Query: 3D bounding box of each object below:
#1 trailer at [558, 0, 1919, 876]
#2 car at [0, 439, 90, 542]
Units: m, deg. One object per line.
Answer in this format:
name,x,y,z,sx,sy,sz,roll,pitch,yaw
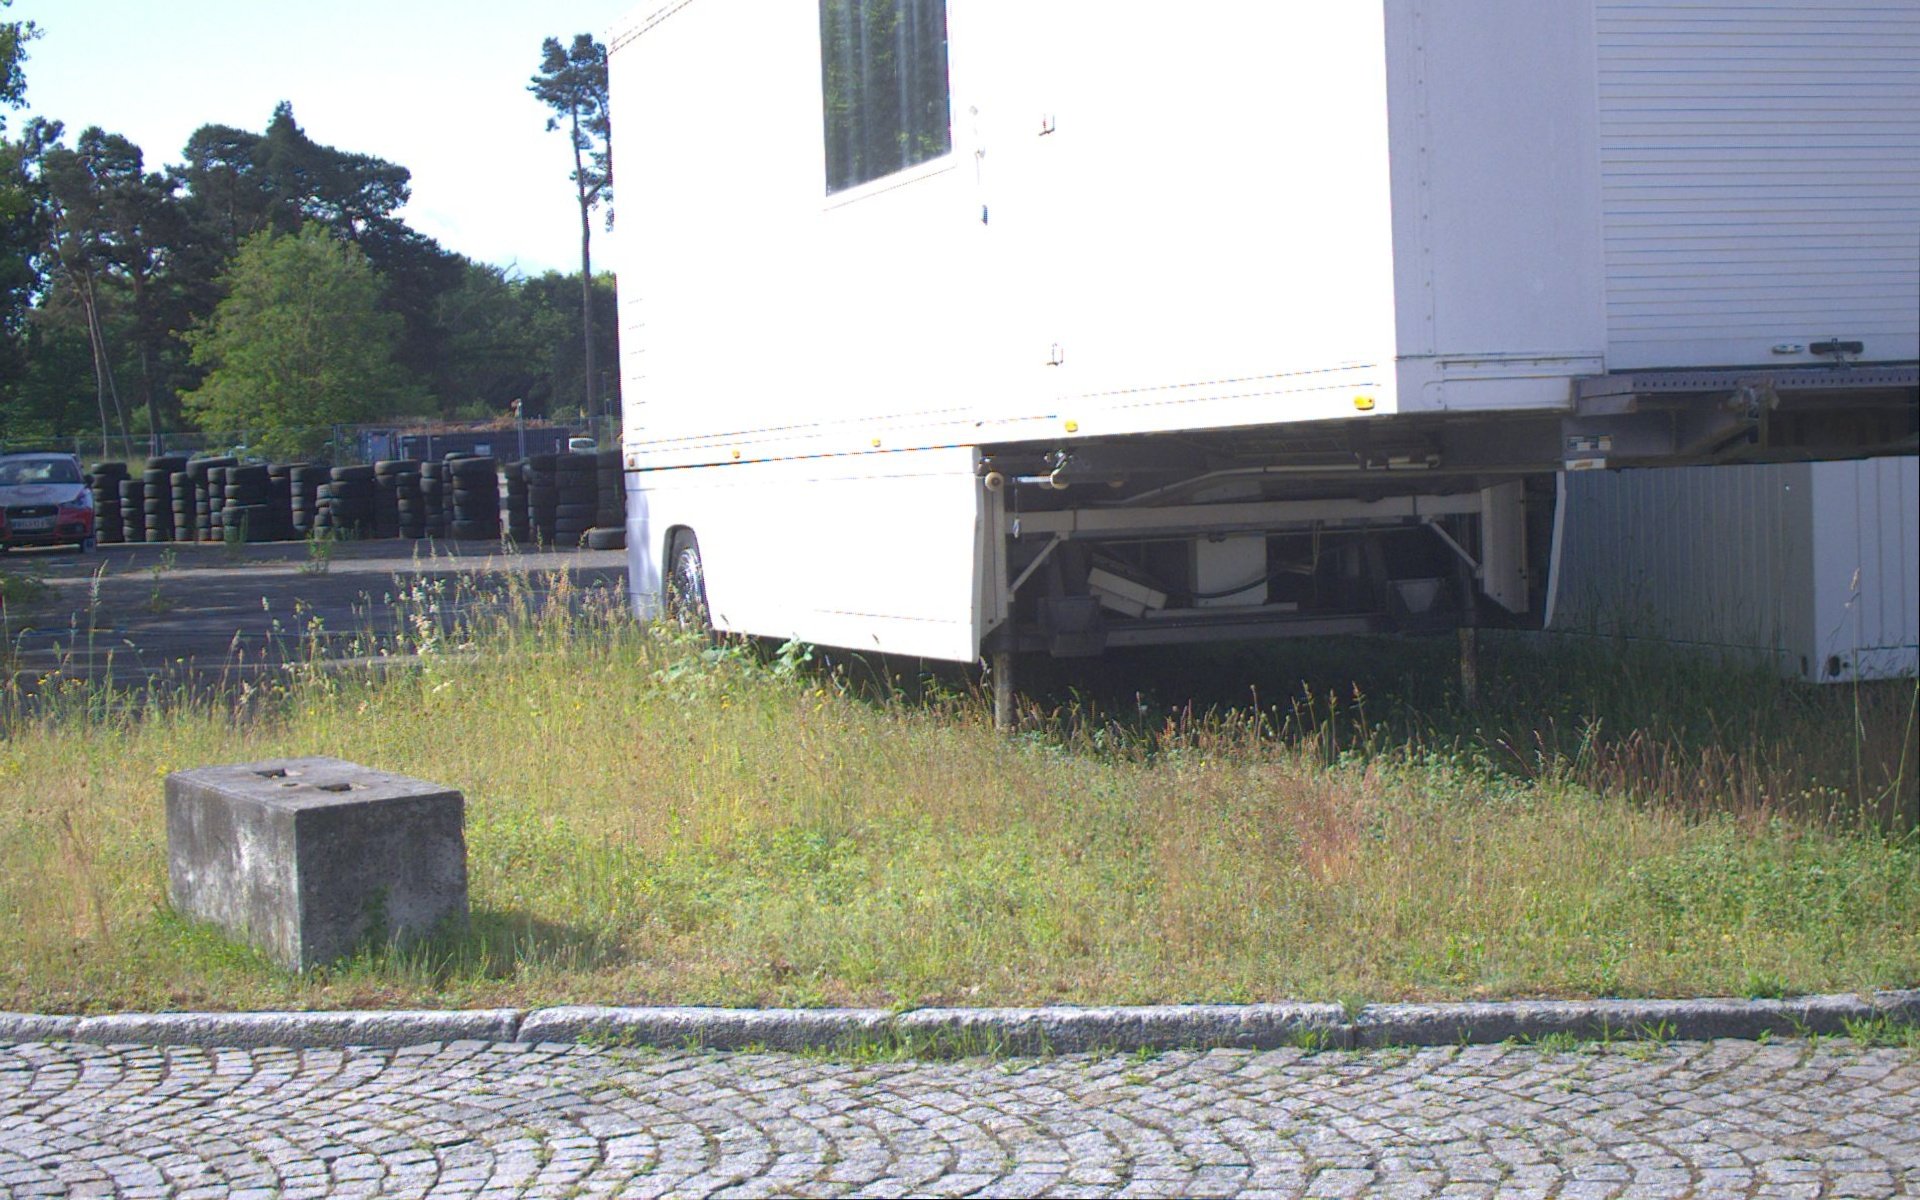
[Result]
trailer,0.785,-1.533,14.213,2.771,3.897,10.891,-3,3,-17
car,-13.439,-1.602,49.805,1.540,1.402,3.579,-2,3,-14
